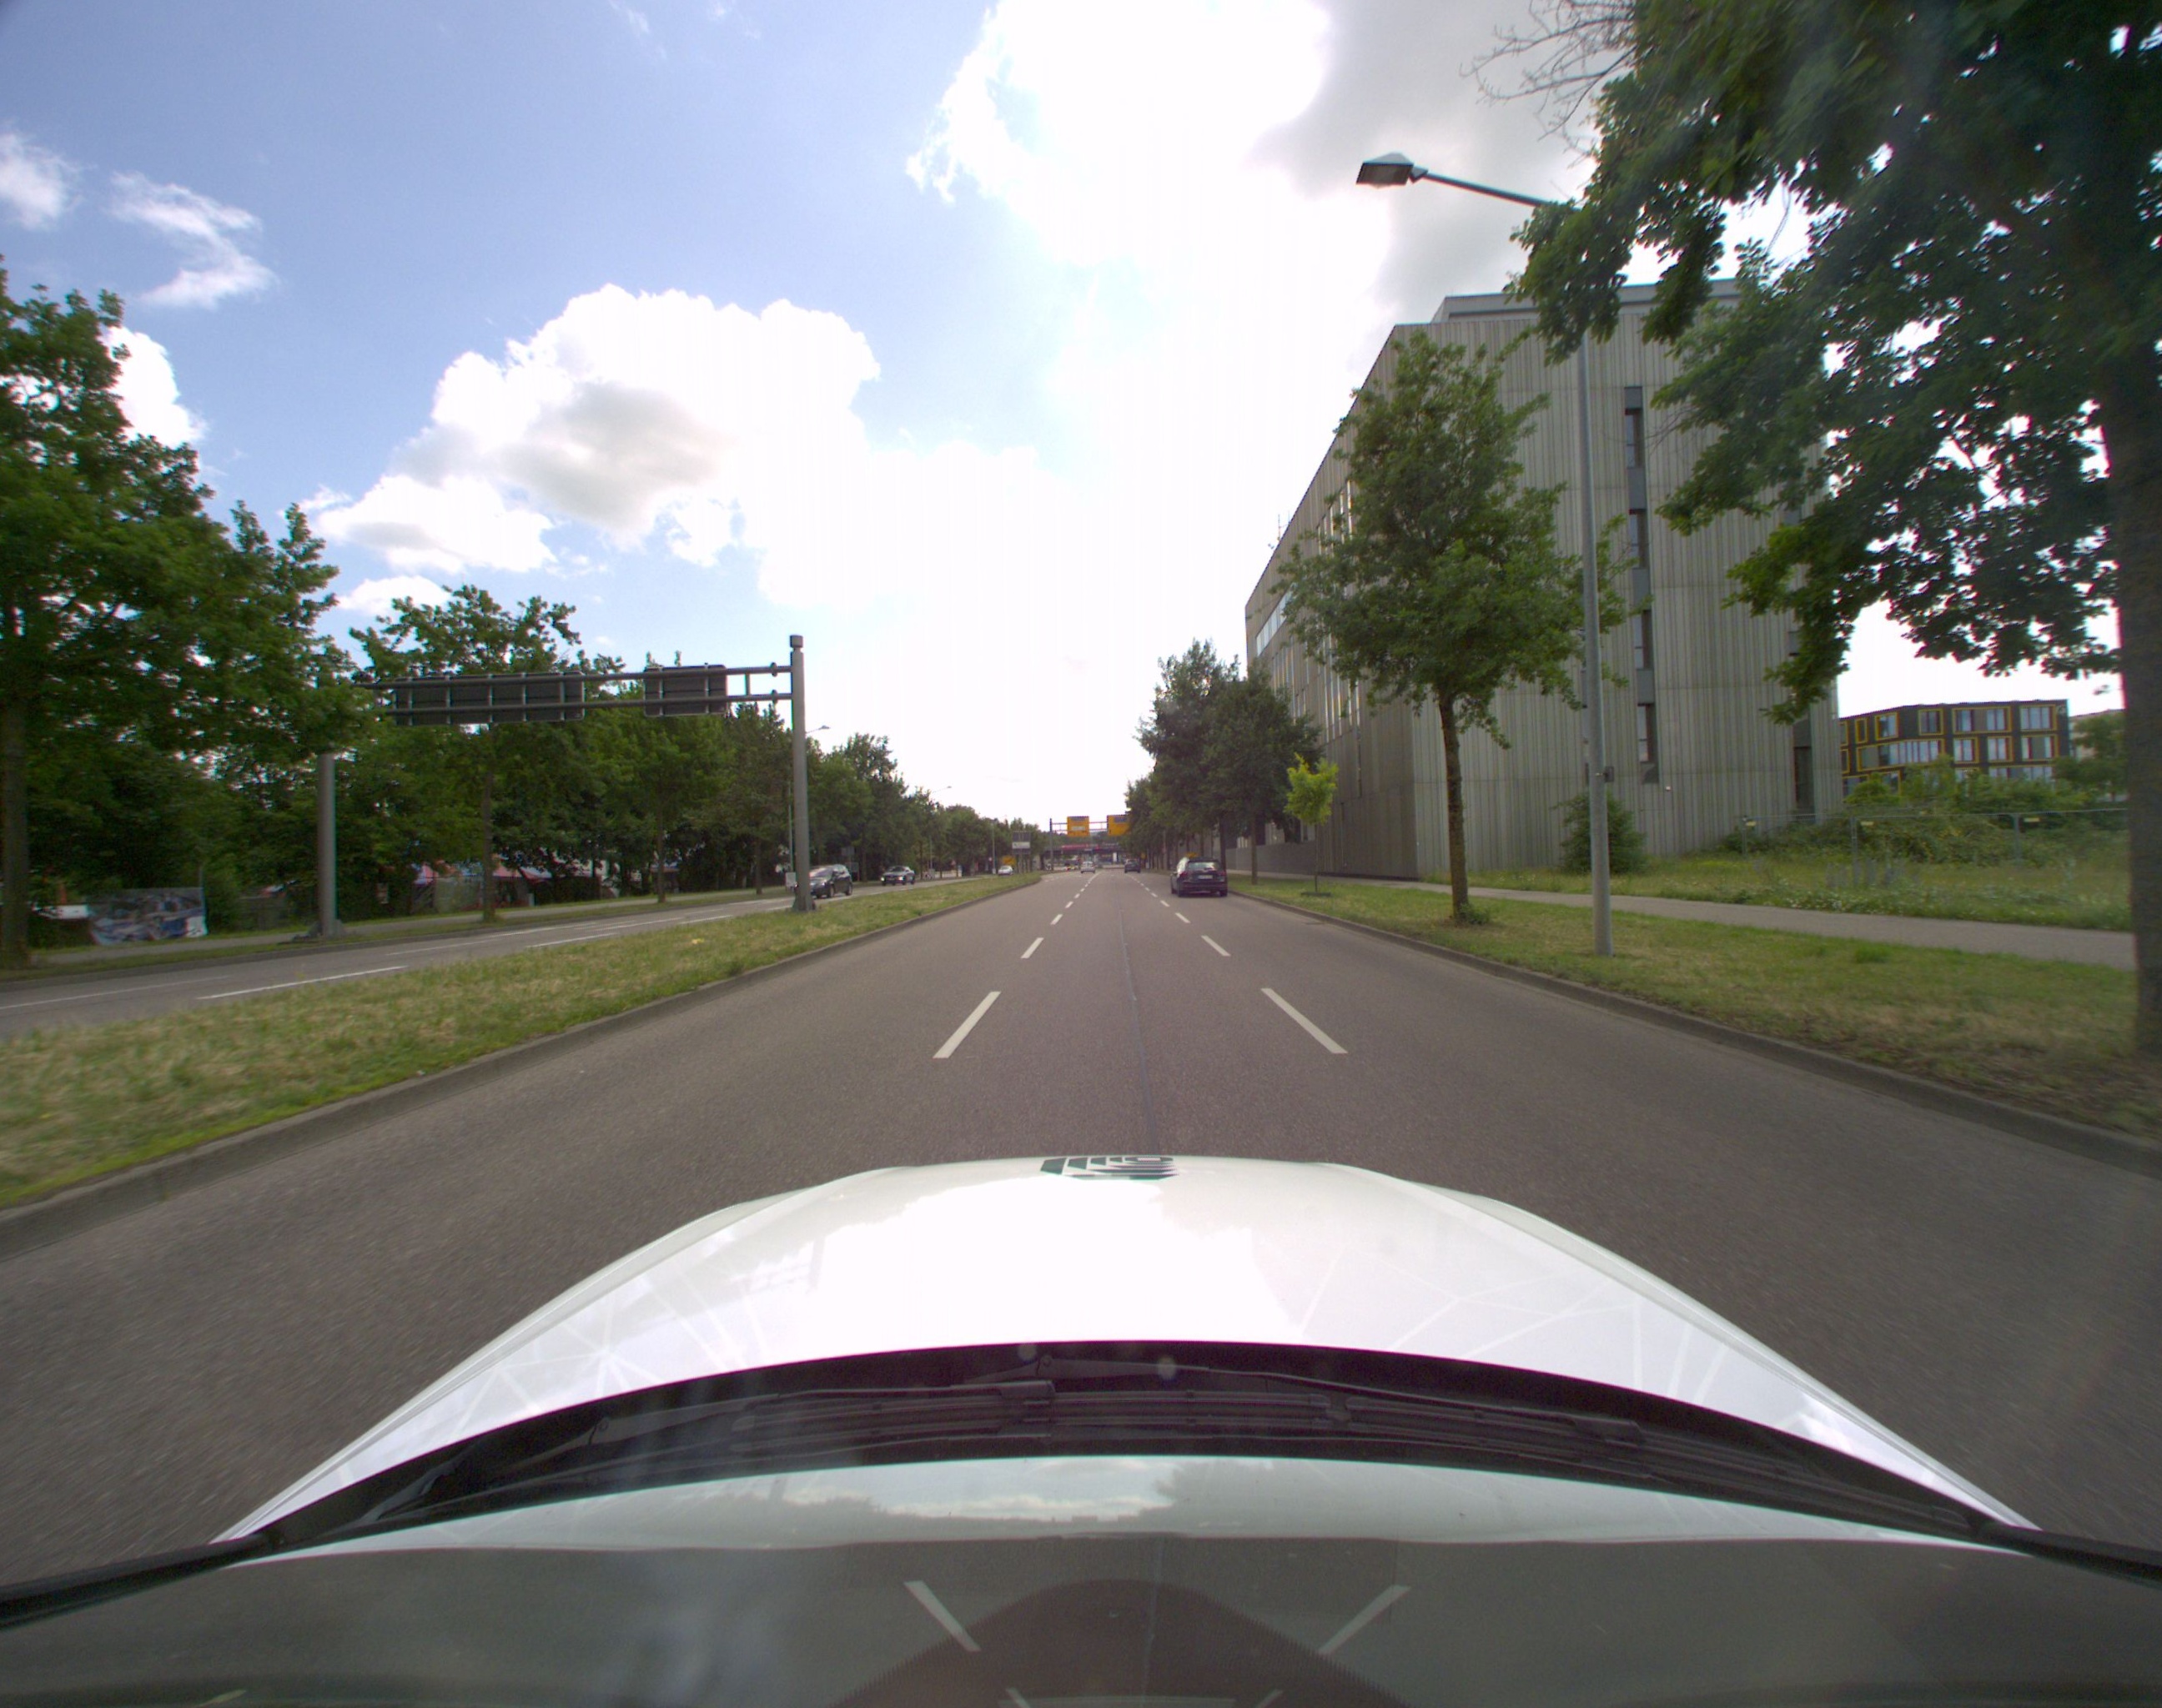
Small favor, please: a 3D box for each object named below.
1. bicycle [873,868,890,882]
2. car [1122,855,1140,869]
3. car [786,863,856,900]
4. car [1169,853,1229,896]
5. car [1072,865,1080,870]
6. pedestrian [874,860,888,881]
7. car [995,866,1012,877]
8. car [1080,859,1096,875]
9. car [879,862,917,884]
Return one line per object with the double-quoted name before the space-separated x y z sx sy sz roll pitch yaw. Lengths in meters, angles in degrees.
"bicycle" -19.198 2.033 78.369 0.804 1.226 2.503 -2 -1 3
"car" 5.994 0.939 96.633 1.984 1.626 4.314 -2 0 4
"car" -12.353 1.271 39.022 1.735 1.569 4.278 -3 0 2
"car" 4.333 0.736 30.399 1.678 1.463 4.000 -1 -1 1
"car" -1.518 4.091 248.858 1.985 1.618 4.003 -2 -1 3
"pedestrian" -19.233 1.566 78.306 0.966 2.014 1.250 2 0 3
"car" -10.949 2.458 115.292 1.632 1.329 4.388 -2 0 5
"car" 0.839 1.692 104.235 1.987 2.014 3.998 -1 -1 -1
"car" -14.243 1.422 63.726 1.735 1.545 4.574 -3 0 1
